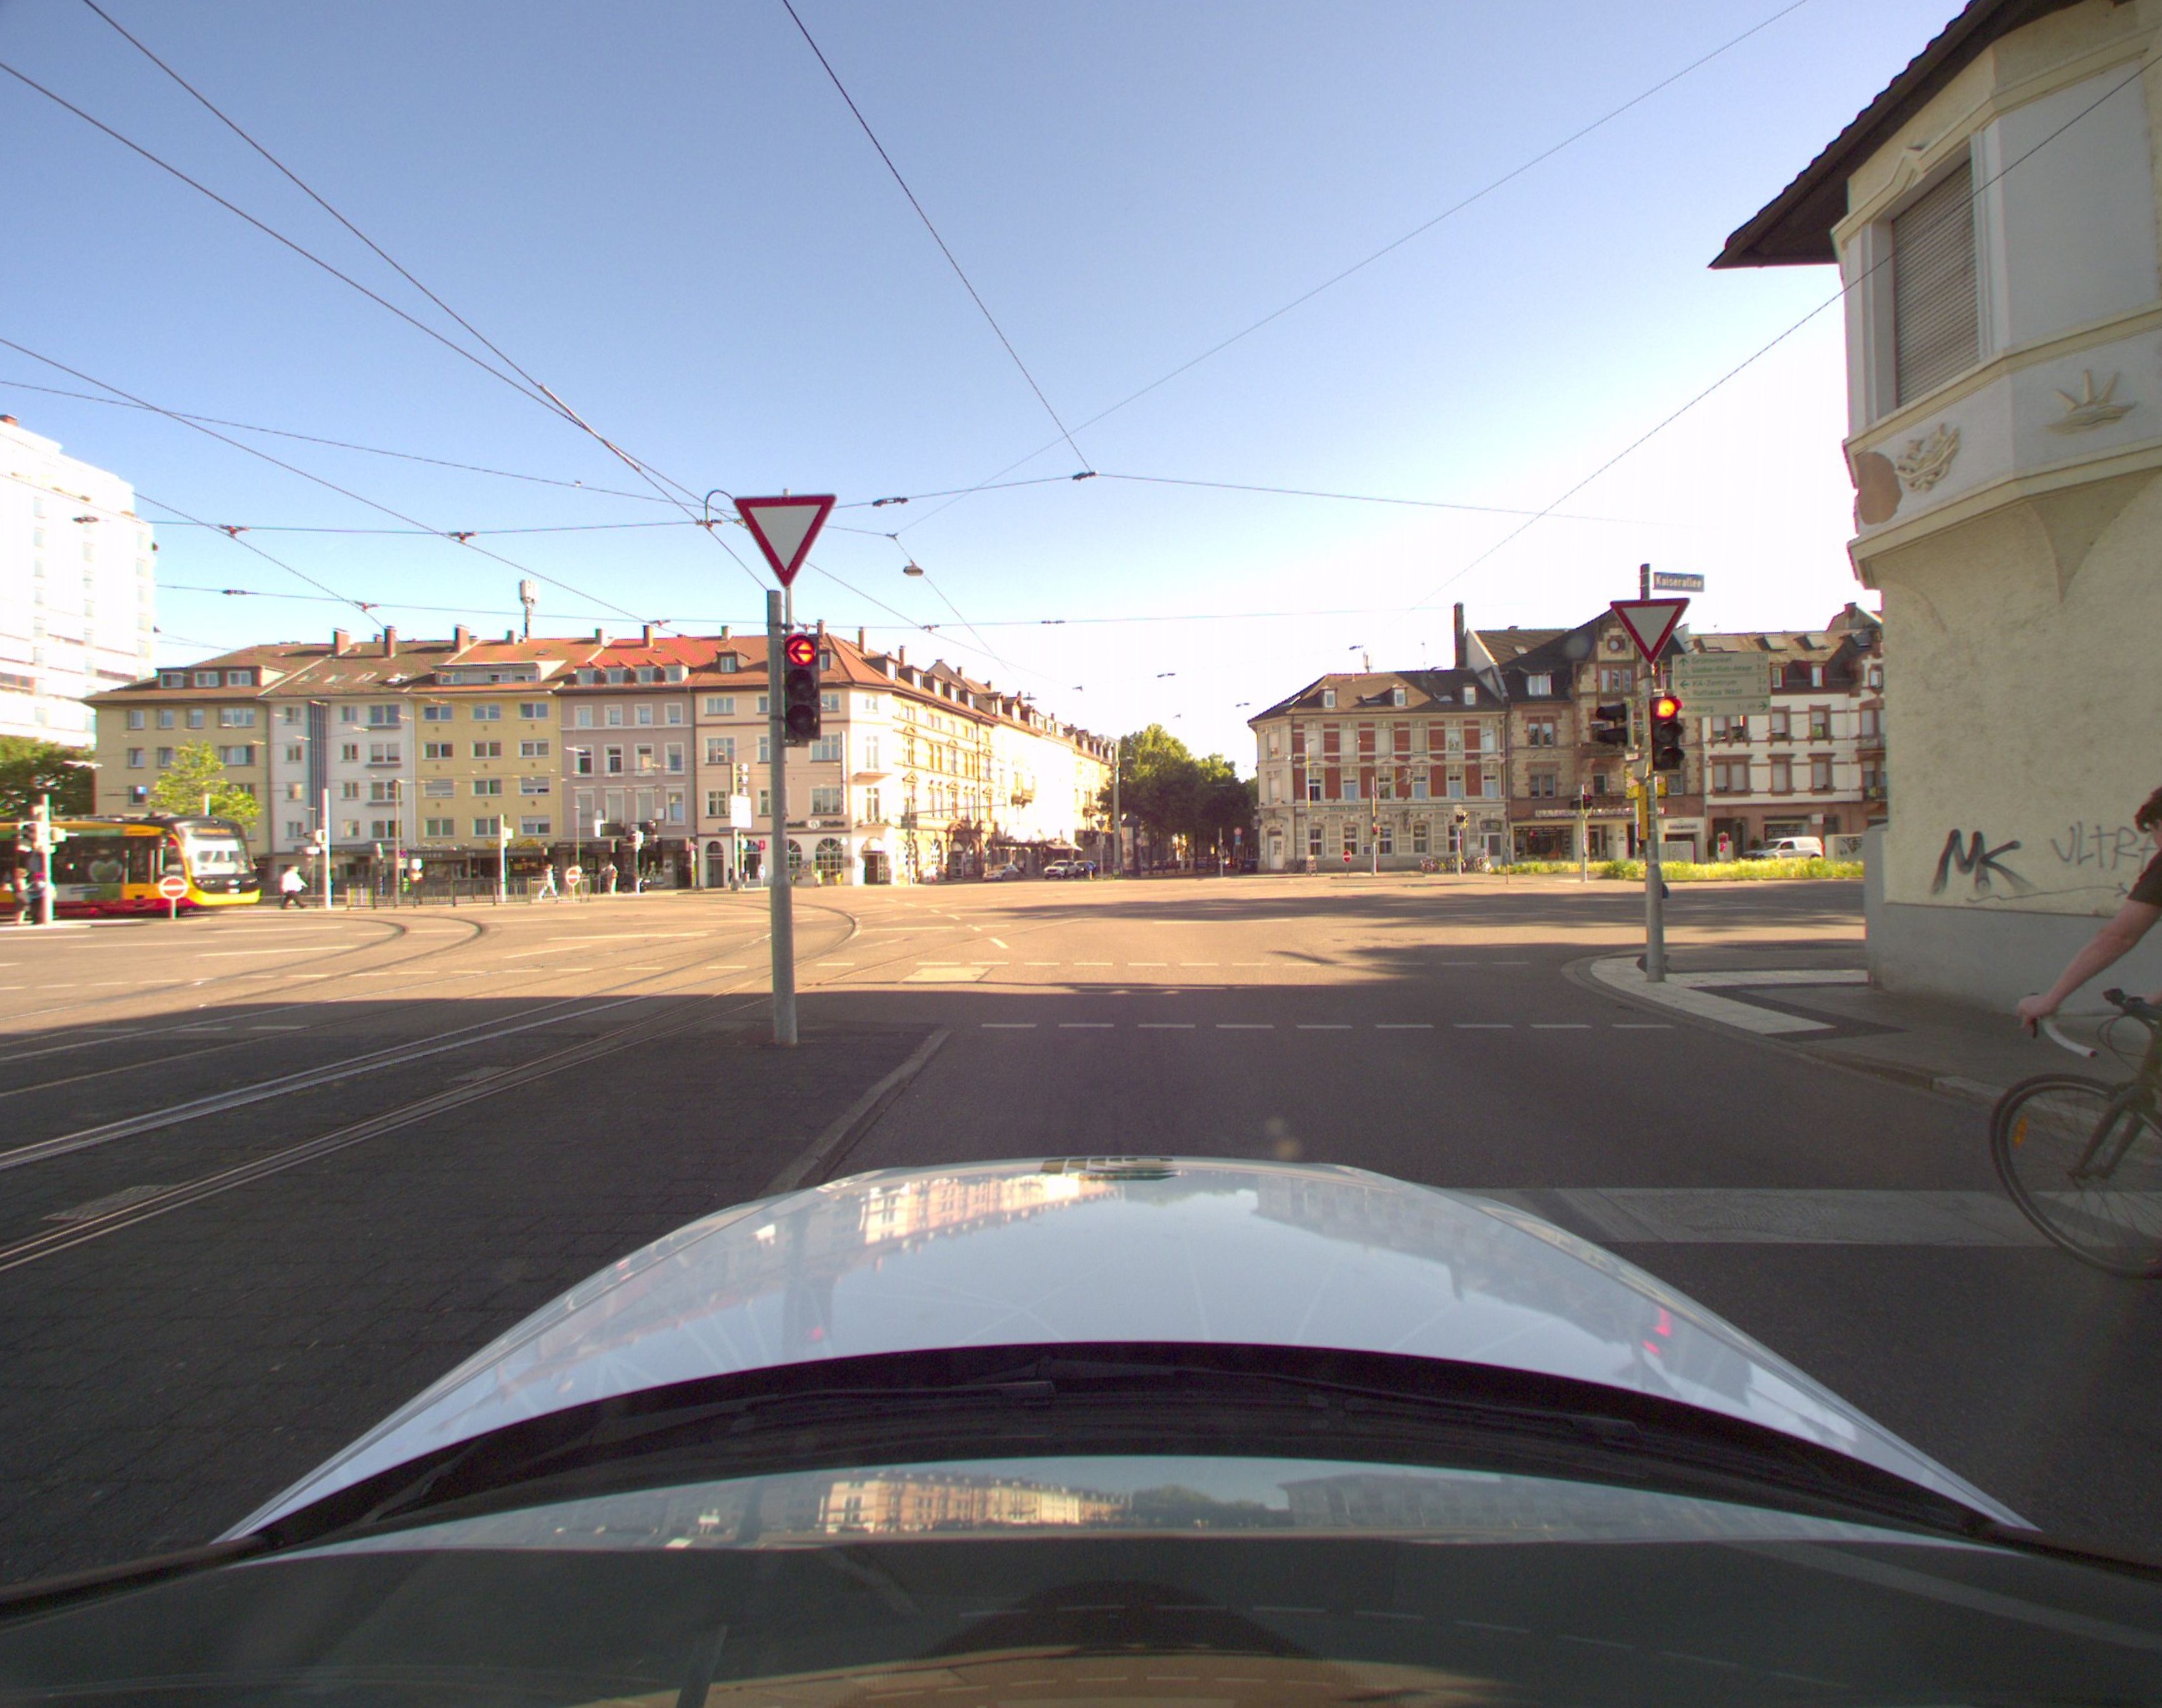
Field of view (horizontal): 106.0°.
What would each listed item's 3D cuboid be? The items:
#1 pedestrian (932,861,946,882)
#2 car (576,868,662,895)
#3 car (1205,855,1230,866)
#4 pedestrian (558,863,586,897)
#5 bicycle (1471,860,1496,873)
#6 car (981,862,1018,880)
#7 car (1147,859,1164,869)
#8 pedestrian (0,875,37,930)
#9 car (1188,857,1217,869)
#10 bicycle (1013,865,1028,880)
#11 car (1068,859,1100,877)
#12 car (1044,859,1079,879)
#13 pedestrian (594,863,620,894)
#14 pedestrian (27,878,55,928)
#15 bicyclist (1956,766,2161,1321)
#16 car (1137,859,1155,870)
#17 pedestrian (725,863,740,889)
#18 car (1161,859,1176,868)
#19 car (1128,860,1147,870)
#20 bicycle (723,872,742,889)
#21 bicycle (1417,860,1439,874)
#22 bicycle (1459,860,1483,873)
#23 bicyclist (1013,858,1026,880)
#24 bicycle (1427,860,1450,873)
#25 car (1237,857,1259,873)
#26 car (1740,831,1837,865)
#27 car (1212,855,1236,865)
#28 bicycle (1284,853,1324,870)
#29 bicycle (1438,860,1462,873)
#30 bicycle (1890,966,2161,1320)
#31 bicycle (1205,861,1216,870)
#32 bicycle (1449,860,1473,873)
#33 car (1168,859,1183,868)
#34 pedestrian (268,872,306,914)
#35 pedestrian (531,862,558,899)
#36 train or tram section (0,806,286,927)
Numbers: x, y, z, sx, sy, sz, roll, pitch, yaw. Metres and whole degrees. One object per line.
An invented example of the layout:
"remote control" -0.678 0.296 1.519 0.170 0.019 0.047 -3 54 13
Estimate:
"pedestrian" -11.172 1.352 64.198 0.770 1.670 0.834 -1 -1 17
"car" -30.361 1.789 53.633 4.347 1.711 2.308 0 -1 4
"car" 21.454 1.055 127.716 3.549 1.648 1.691 -2 0 19
"pedestrian" -23.657 1.202 37.827 0.720 1.577 0.836 -1 -1 11
"bicycle" 26.013 0.796 52.712 0.656 0.840 2.162 0 -1 3
"car" -6.705 1.423 67.222 1.664 1.354 3.608 -2 0 19
"car" 11.248 1.509 122.359 1.664 1.354 3.608 -2 0 19
"pedestrian" -32.916 1.499 25.236 0.456 1.644 0.643 -1 1 38
"car" 17.209 1.253 115.450 3.870 1.648 1.691 -2 0 19
"bicycle" -4.890 1.483 65.530 0.696 1.118 1.642 -1 -1 16
"car" 0.312 1.239 73.765 1.664 1.483 3.967 -2 0 19
"car" -1.600 1.213 67.506 1.664 1.483 3.789 -2 0 19
"pedestrian" -24.766 1.287 42.536 0.842 1.577 0.836 -1 -1 11
"pedestrian" -31.910 1.499 24.987 0.456 1.505 0.485 -1 1 38
"bicyclist" 3.579 0.576 2.496 0.570 1.701 1.117 -1 0 2
"car" 9.178 1.489 115.442 1.664 1.354 3.608 -2 0 19
"pedestrian" -22.758 1.419 53.181 0.580 1.670 0.753 0 -1 2
"car" 14.039 1.498 130.604 1.664 1.354 3.608 -2 0 19
"car" 7.703 1.486 111.318 1.664 1.354 3.608 -2 0 19
"bicycle" -22.756 1.710 53.149 0.570 1.077 1.497 0 -1 2
"bicycle" 22.430 0.823 52.692 0.656 0.840 2.162 0 -1 3
"bicycle" 25.209 0.802 52.698 0.656 0.840 2.162 0 -1 3
"bicyclist" -4.936 1.208 65.410 0.772 1.803 1.060 -1 -1 16
"bicycle" 23.165 0.818 52.751 0.656 0.840 2.162 0 -1 3
"car" 16.909 1.094 82.330 1.664 1.483 3.967 -2 0 19
"car" 45.447 -0.384 52.397 4.406 2.013 2.002 -1 0 4
"car" 23.360 0.962 133.150 3.549 1.648 1.691 -2 0 19
"bicycle" 15.608 0.498 57.055 2.547 1.174 0.818 0 -1 -1
"bicycle" 23.889 0.812 52.736 0.656 0.840 2.162 0 -1 3
"bicycle" 3.604 0.958 2.504 0.516 0.970 1.750 -1 0 2
"bicycle" 15.774 1.388 99.275 0.636 1.021 1.839 0 -1 -12
"bicycle" 24.572 0.807 52.743 0.656 0.840 2.162 0 -1 3
"car" 15.726 1.517 135.597 1.664 1.354 3.608 -2 0 19
"pedestrian" -30.618 1.500 31.399 0.657 1.577 0.889 -1 -1 29
"pedestrian" -23.208 1.145 35.230 0.545 1.577 0.838 -1 -1 29
"train or tram section" -35.553 0.494 28.370 12.961 3.814 2.943 -1 0 1
